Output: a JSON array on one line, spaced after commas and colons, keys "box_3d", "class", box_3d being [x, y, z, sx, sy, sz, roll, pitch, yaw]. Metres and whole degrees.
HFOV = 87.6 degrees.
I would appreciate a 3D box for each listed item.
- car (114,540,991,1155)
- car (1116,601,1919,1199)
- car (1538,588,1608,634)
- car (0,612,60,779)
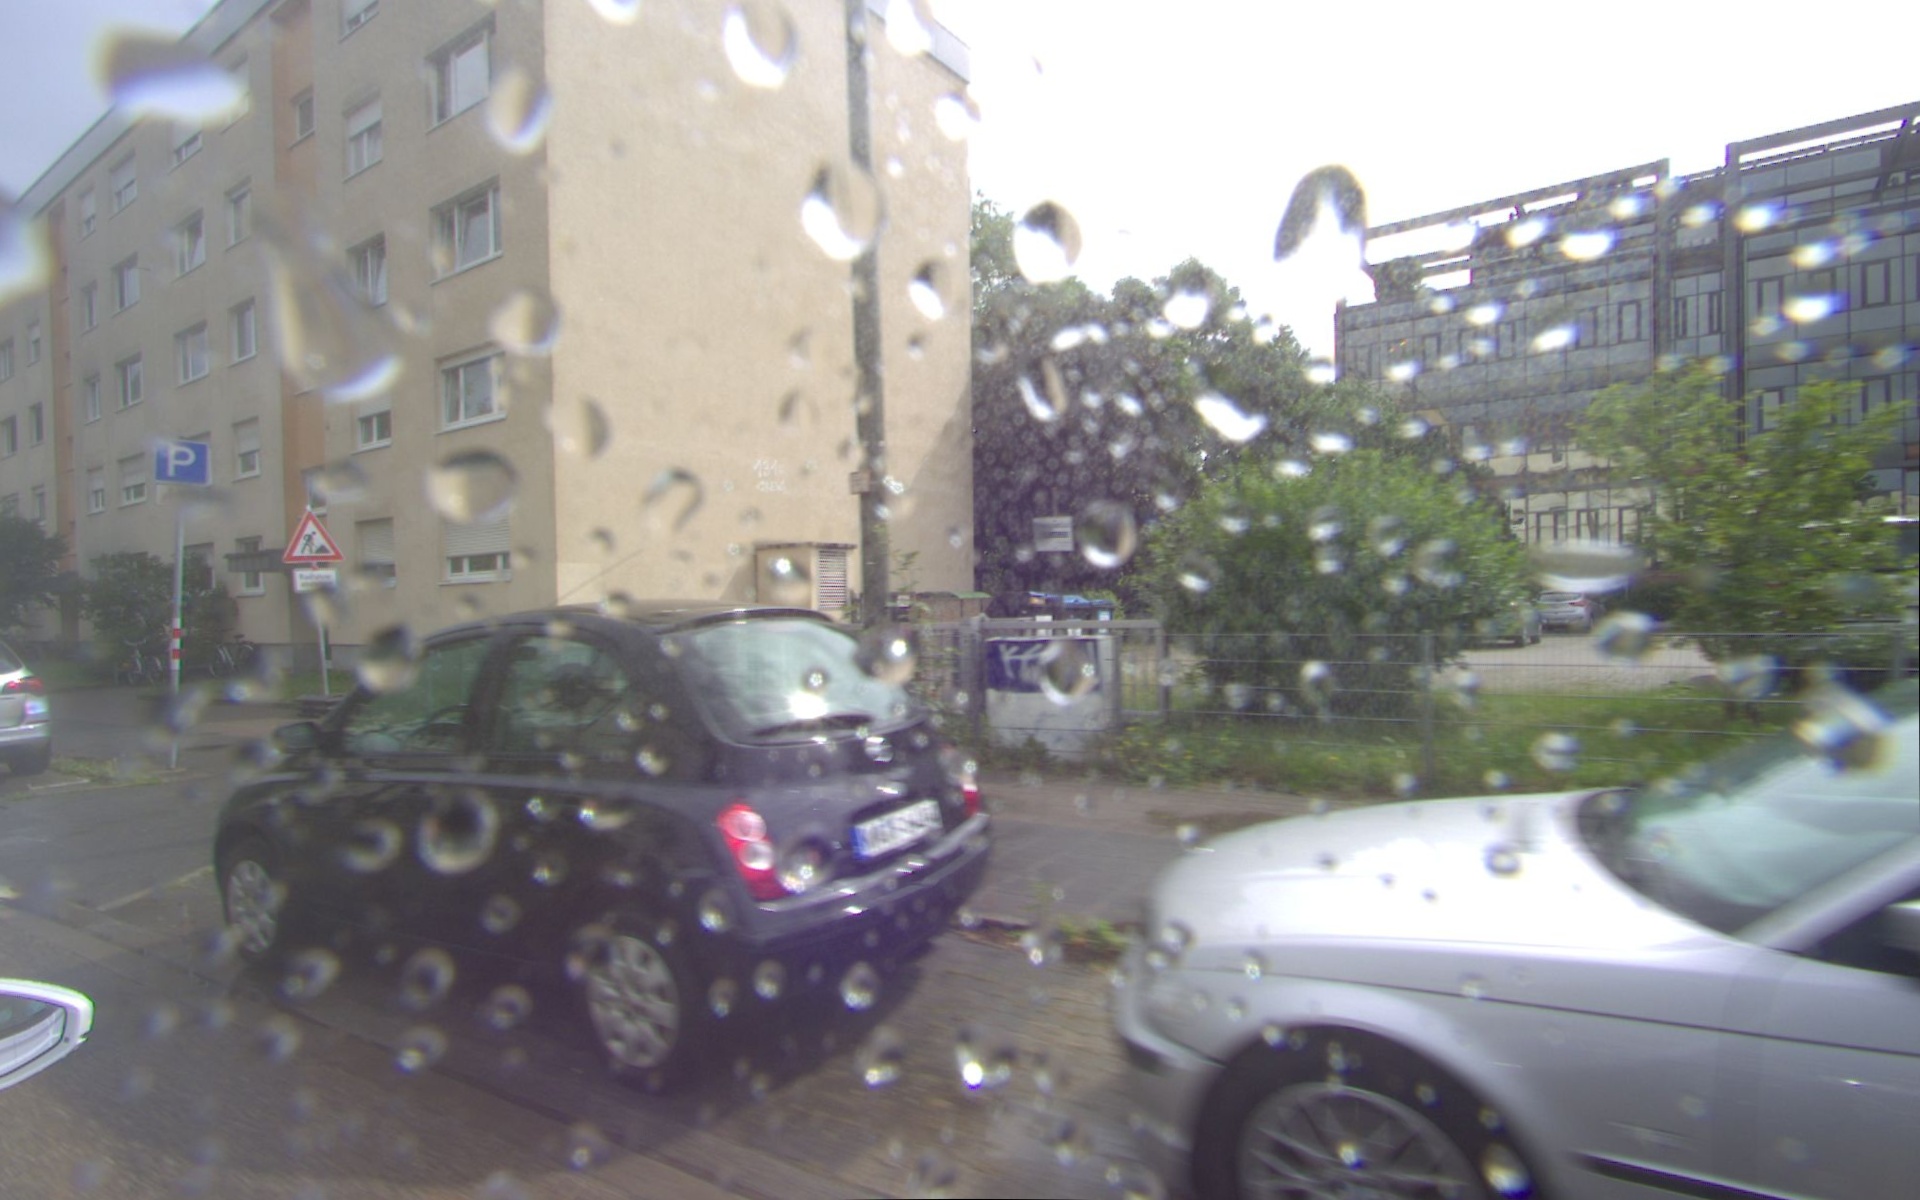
[{"box_3d": [-1.977, 0.716, 4.482, 3.973, 1.683, 1.602, -1, -1, 32], "class": "car"}, {"box_3d": [2.567, 0.745, 1.822, 4.197, 1.471, 1.714, -1, -2, 32], "class": "car"}, {"box_3d": [20.133, 0.351, 32.826, 1.595, 1.431, 3.653, -1, 0, 37], "class": "car"}, {"box_3d": [-10.922, 0.946, 10.152, 3.976, 1.559, 1.690, -1, 1, 34], "class": "car"}]
